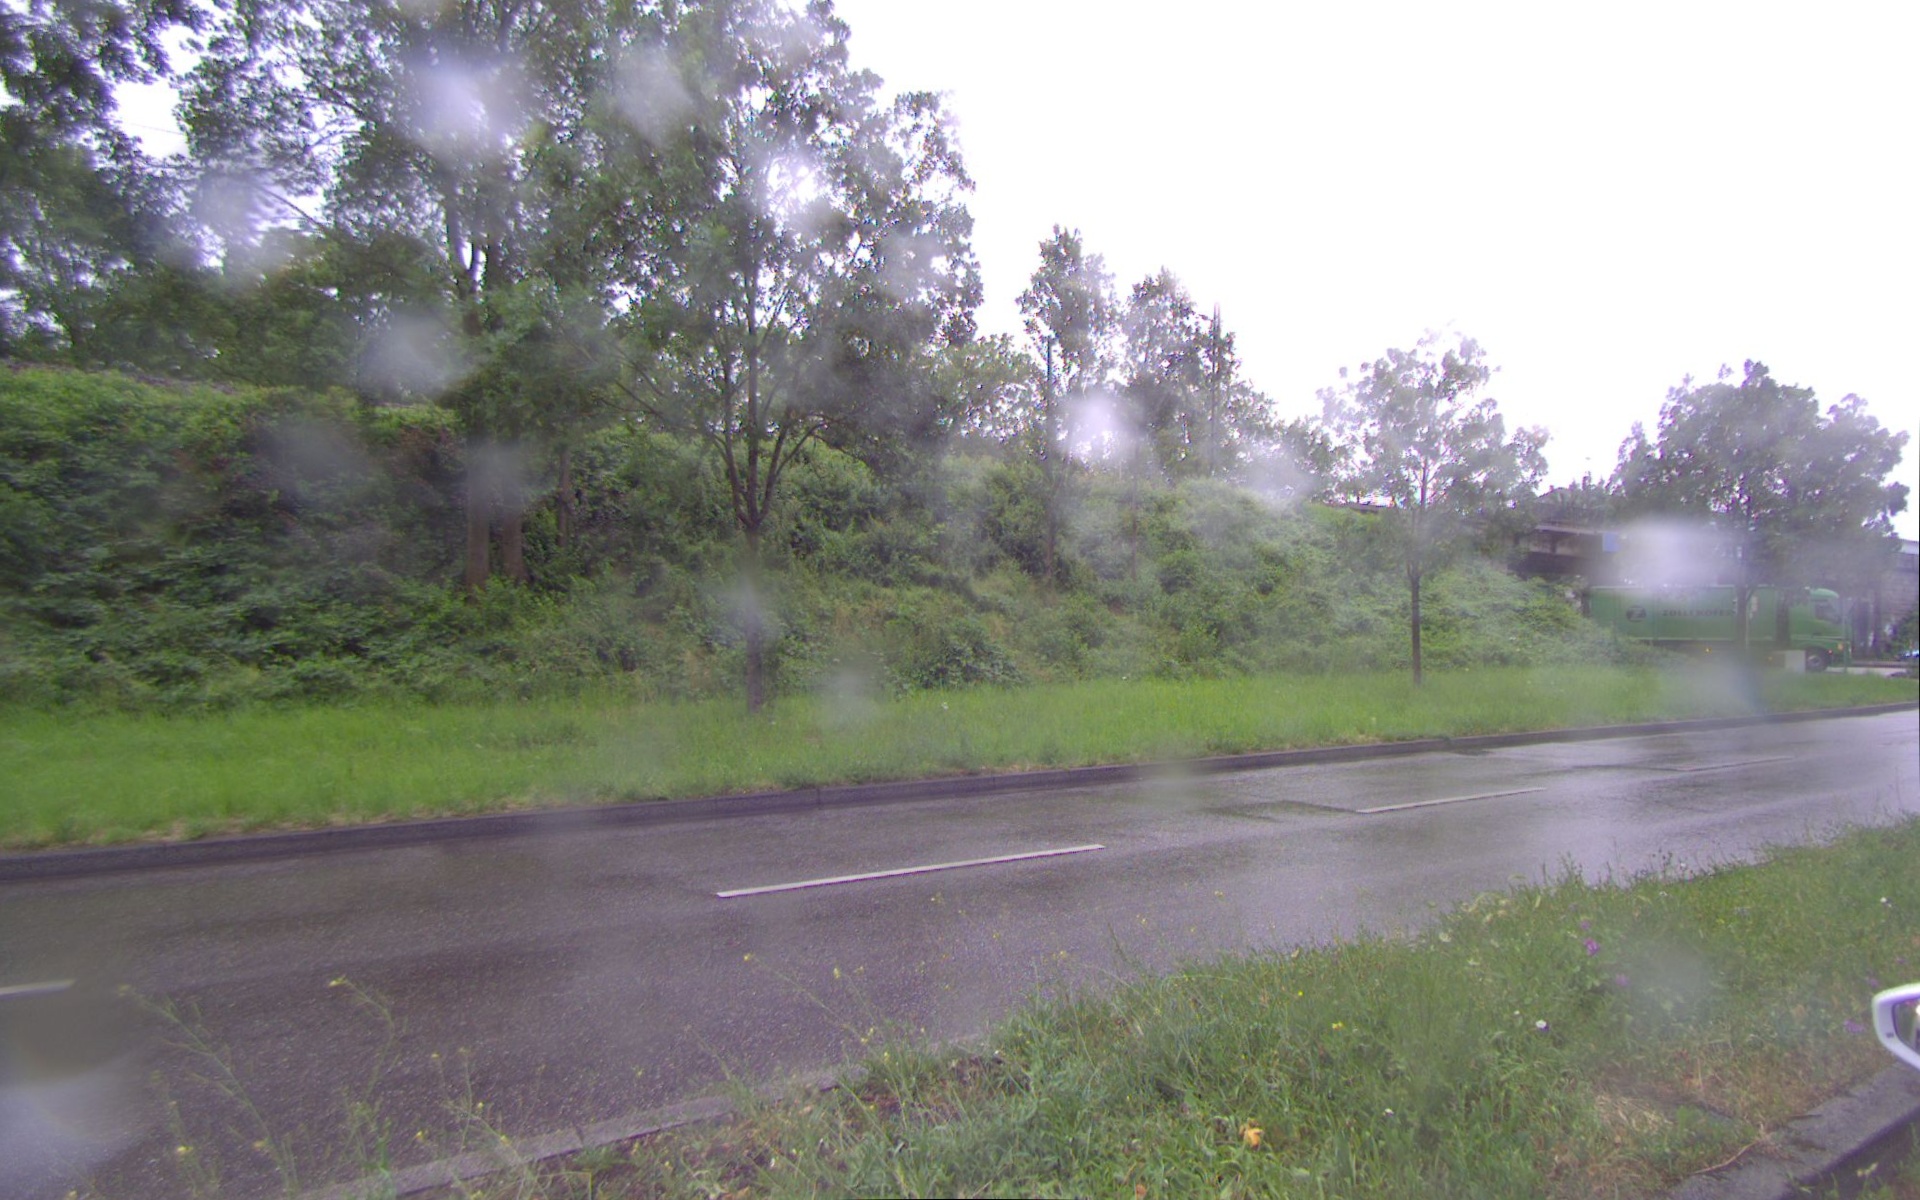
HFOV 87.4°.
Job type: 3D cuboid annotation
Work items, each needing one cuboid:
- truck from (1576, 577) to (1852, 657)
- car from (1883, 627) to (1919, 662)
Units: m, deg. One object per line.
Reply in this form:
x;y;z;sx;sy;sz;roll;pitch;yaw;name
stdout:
34.336;0.727;46.311;9.872;3.416;2.346;0;-1;25;truck
55.916;2.576;57.560;3.920;1.913;2.000;1;1;19;car
